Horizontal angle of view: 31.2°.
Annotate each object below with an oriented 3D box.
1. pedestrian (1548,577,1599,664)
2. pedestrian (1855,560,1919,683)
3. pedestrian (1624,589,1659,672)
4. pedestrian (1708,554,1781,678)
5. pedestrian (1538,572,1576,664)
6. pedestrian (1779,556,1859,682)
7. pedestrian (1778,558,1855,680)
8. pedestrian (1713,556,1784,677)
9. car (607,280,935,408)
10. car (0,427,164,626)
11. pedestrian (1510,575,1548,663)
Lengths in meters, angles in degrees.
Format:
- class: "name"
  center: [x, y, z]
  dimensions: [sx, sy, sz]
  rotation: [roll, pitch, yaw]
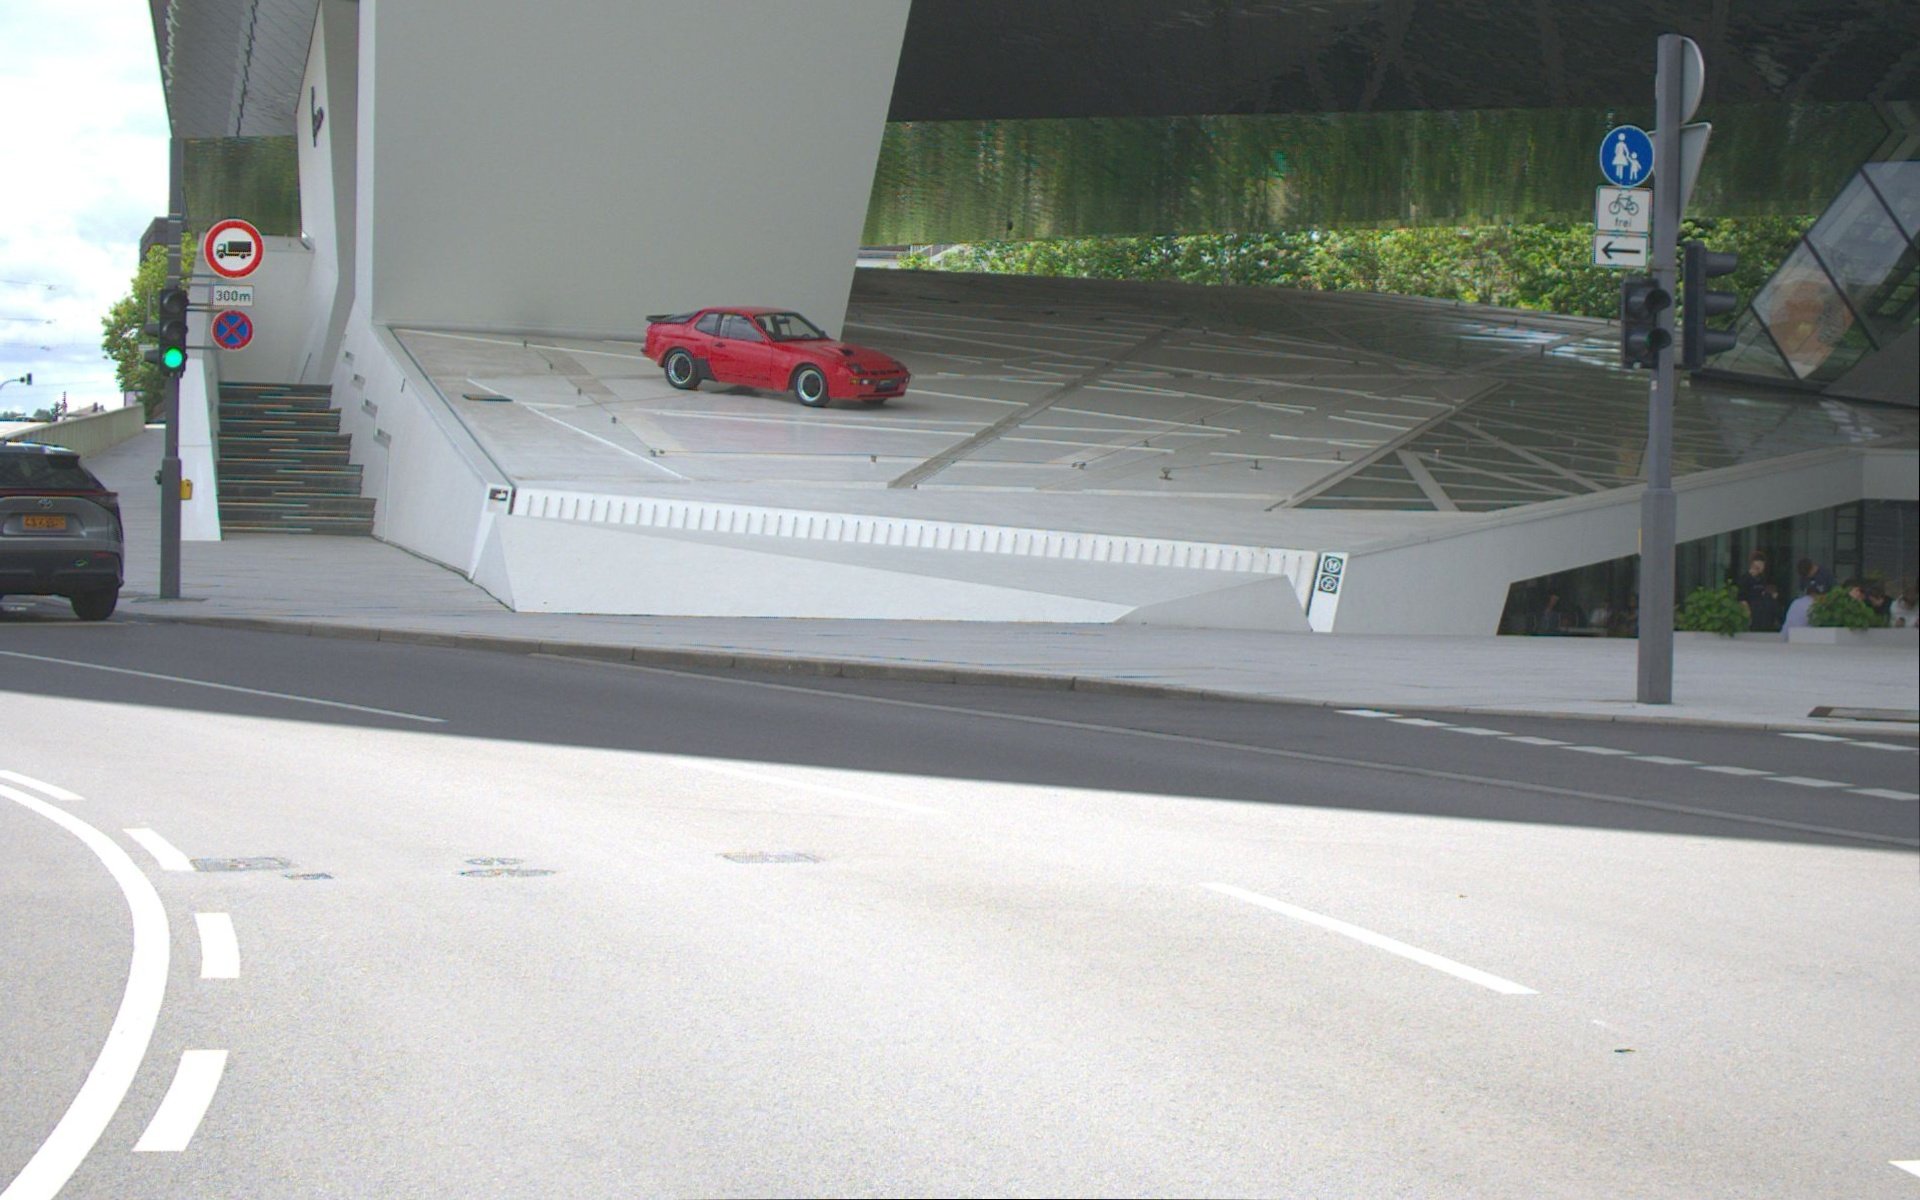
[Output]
- class: "pedestrian"
  center: [9.047, 0.304, 50.690]
  dimensions: [0.561, 1.248, 0.473]
  rotation: [2, 0, 29]
- class: "pedestrian"
  center: [12.264, 0.287, 44.968]
  dimensions: [0.795, 1.567, 0.692]
  rotation: [2, 0, 40]
- class: "pedestrian"
  center: [10.356, 0.462, 52.253]
  dimensions: [0.473, 1.248, 0.561]
  rotation: [2, 0, 11]
- class: "pedestrian"
  center: [10.223, 0.207, 44.822]
  dimensions: [0.828, 1.567, 0.923]
  rotation: [2, 0, 11]
- class: "pedestrian"
  center: [8.174, 0.247, 47.091]
  dimensions: [0.394, 1.248, 0.400]
  rotation: [2, 0, -1]
- class: "pedestrian"
  center: [11.082, 0.242, 44.339]
  dimensions: [0.921, 1.567, 0.830]
  rotation: [2, 0, 15]
- class: "pedestrian"
  center: [11.380, 0.250, 45.666]
  dimensions: [0.921, 1.567, 0.830]
  rotation: [2, 0, 15]
- class: "pedestrian"
  center: [10.546, 0.217, 45.969]
  dimensions: [0.828, 1.567, 0.923]
  rotation: [2, 0, 16]
- class: "car"
  center: [-2.827, -3.819, 50.967]
  dimensions: [4.508, 1.390, 1.996]
  rotation: [10, 10, 34]
- class: "car"
  center: [-9.068, -0.744, 31.700]
  dimensions: [1.994, 1.631, 4.000]
  rotation: [1, 4, -34]
- class: "pedestrian"
  center: [8.272, 0.275, 49.975]
  dimensions: [0.394, 1.248, 0.562]
  rotation: [2, 0, -1]
